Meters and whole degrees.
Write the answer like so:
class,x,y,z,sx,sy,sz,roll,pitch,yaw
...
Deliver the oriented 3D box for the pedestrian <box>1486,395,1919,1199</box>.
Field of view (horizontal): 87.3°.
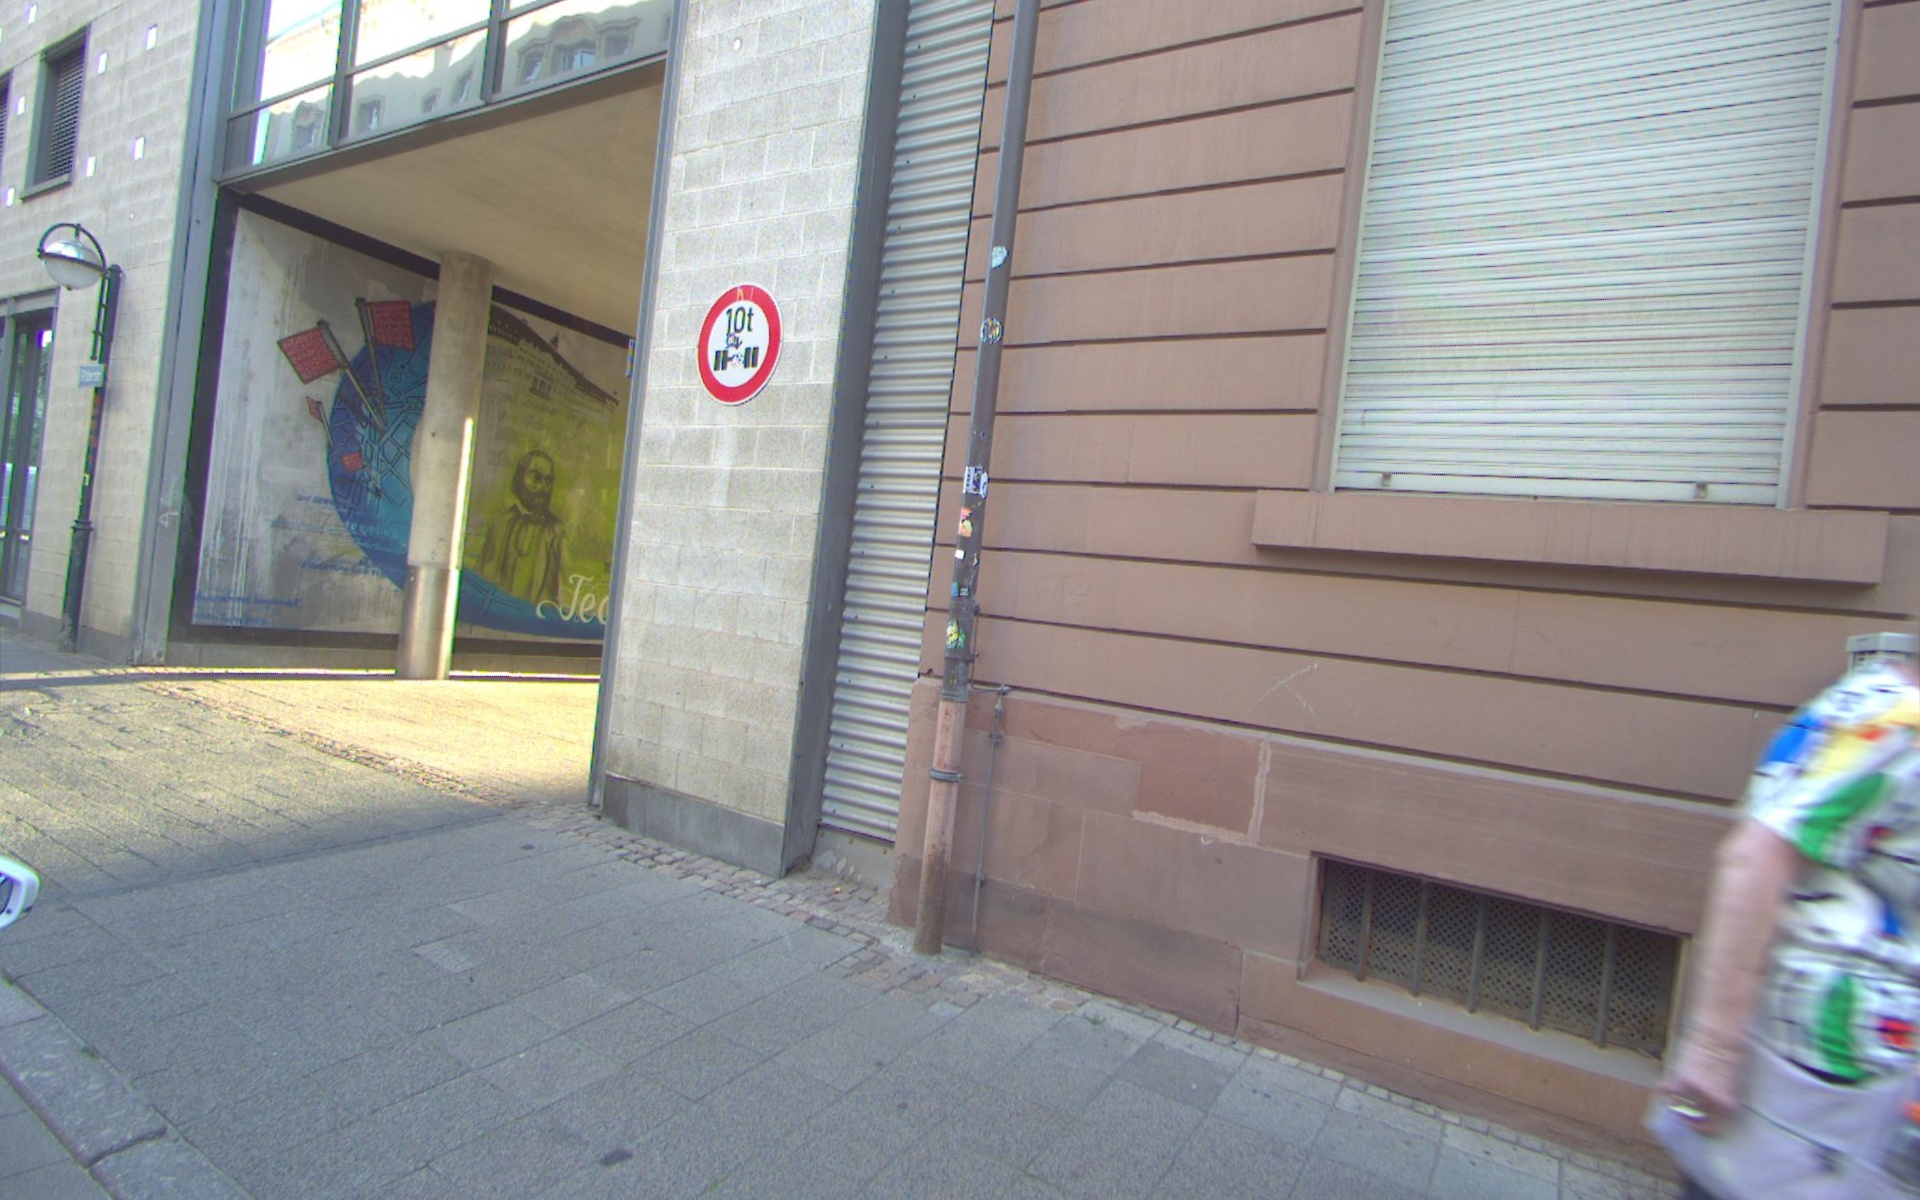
class,x,y,z,sx,sy,sz,roll,pitch,yaw
pedestrian,1.452,0.658,1.637,0.883,1.829,0.843,7,5,37
